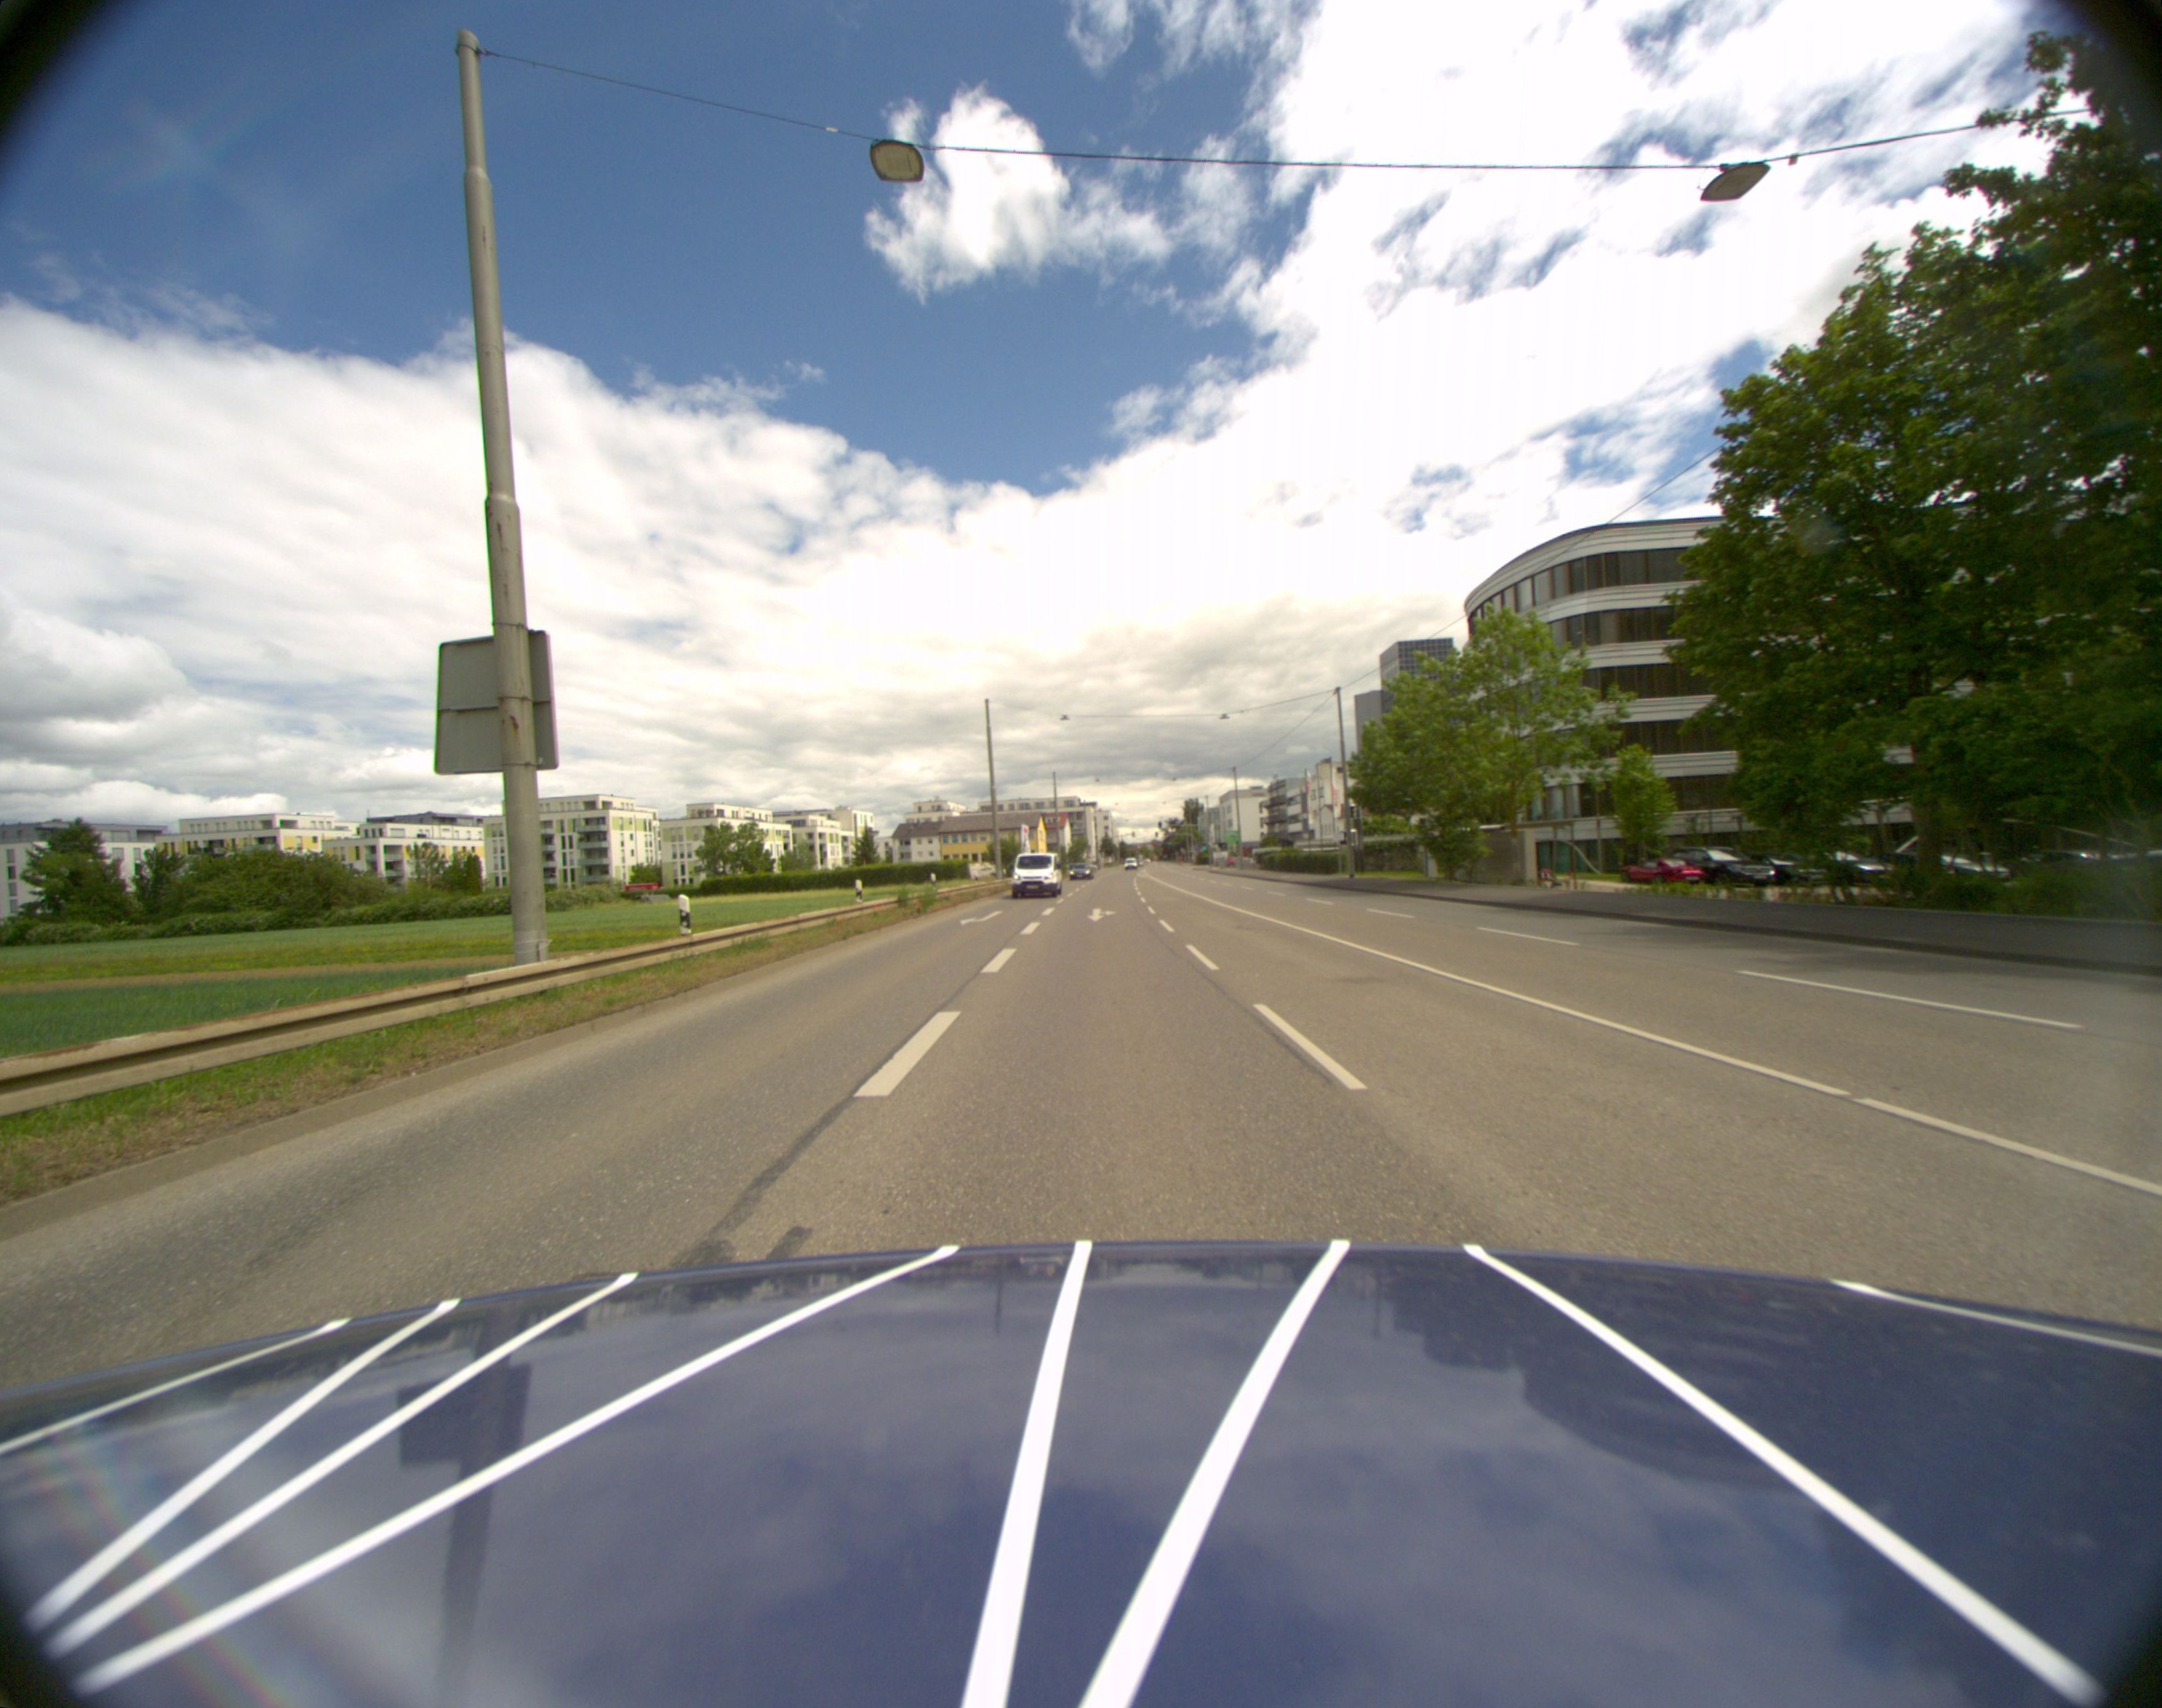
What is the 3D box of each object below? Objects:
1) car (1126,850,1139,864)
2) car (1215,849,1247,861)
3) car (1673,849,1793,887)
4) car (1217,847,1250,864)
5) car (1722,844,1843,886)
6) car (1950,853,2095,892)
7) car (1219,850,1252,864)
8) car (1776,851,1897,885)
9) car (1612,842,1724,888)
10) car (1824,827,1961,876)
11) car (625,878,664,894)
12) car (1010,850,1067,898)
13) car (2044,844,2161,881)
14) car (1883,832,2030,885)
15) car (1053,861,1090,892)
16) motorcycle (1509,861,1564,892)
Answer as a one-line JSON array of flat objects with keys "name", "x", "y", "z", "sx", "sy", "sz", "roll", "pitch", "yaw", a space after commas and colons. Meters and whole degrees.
[{"name": "car", "x": 7.809, "y": 0.486, "z": 115.747, "sx": 1.800, "sy": 2.002, "sz": 4.000, "roll": -3, "pitch": 0, "yaw": 1}, {"name": "car", "x": 20.879, "y": 0.109, "z": 105.918, "sx": 3.996, "sy": 1.324, "sz": 1.824, "roll": -5, "pitch": -1, "yaw": 2}, {"name": "car", "x": 29.236, "y": 0.596, "z": 34.261, "sx": 1.998, "sy": 1.608, "sz": 4.000, "roll": 0, "pitch": 1, "yaw": 1}, {"name": "car", "x": 20.198, "y": 0.198, "z": 100.638, "sx": 3.996, "sy": 2.002, "sz": 1.920, "roll": -3, "pitch": 1, "yaw": 2}, {"name": "car", "x": 31.715, "y": 0.474, "z": 34.523, "sx": 1.824, "sy": 1.713, "sz": 4.000, "roll": -3, "pitch": 0, "yaw": 1}, {"name": "car", "x": 44.081, "y": 0.828, "z": 35.725, "sx": 1.845, "sy": 1.607, "sz": 4.040, "roll": -3, "pitch": 0, "yaw": 1}, {"name": "car", "x": 19.980, "y": 0.394, "z": 98.418, "sx": 3.801, "sy": 1.601, "sz": 1.836, "roll": -2, "pitch": 0, "yaw": 2}, {"name": "car", "x": 34.170, "y": 0.576, "z": 34.510, "sx": 1.525, "sy": 1.368, "sz": 4.000, "roll": -3, "pitch": 0, "yaw": 1}, {"name": "car", "x": 26.839, "y": 0.446, "z": 34.912, "sx": 1.868, "sy": 1.784, "sz": 3.996, "roll": -2, "pitch": 3, "yaw": -4}, {"name": "car", "x": 36.704, "y": -0.120, "z": 34.548, "sx": 1.933, "sy": 2.015, "sz": 4.000, "roll": -3, "pitch": 0, "yaw": 1}, {"name": "car", "x": -63.733, "y": 4.663, "z": 110.910, "sx": 4.437, "sy": 2.002, "sz": 2.000, "roll": -3, "pitch": 1, "yaw": 0}, {"name": "car", "x": -1.851, "y": 0.834, "z": 35.280, "sx": 1.998, "sy": 1.907, "sz": 5.882, "roll": -3, "pitch": 0, "yaw": 2}, {"name": "car", "x": 49.046, "y": 0.334, "z": 35.983, "sx": 1.859, "sy": 1.478, "sz": 3.998, "roll": -3, "pitch": 2, "yaw": 1}, {"name": "car", "x": 39.252, "y": 0.121, "z": 34.247, "sx": 1.998, "sy": 2.003, "sz": 3.997, "roll": -3, "pitch": 4, "yaw": 1}, {"name": "car", "x": -0.503, "y": 1.227, "z": 42.195, "sx": 1.879, "sy": 1.478, "sz": 3.775, "roll": -4, "pitch": 0, "yaw": 0}, {"name": "motorcycle", "x": 19.736, "y": 0.951, "z": 32.926, "sx": 1.905, "sy": 1.237, "sz": 0.746, "roll": -3, "pitch": 1, "yaw": -1}]
